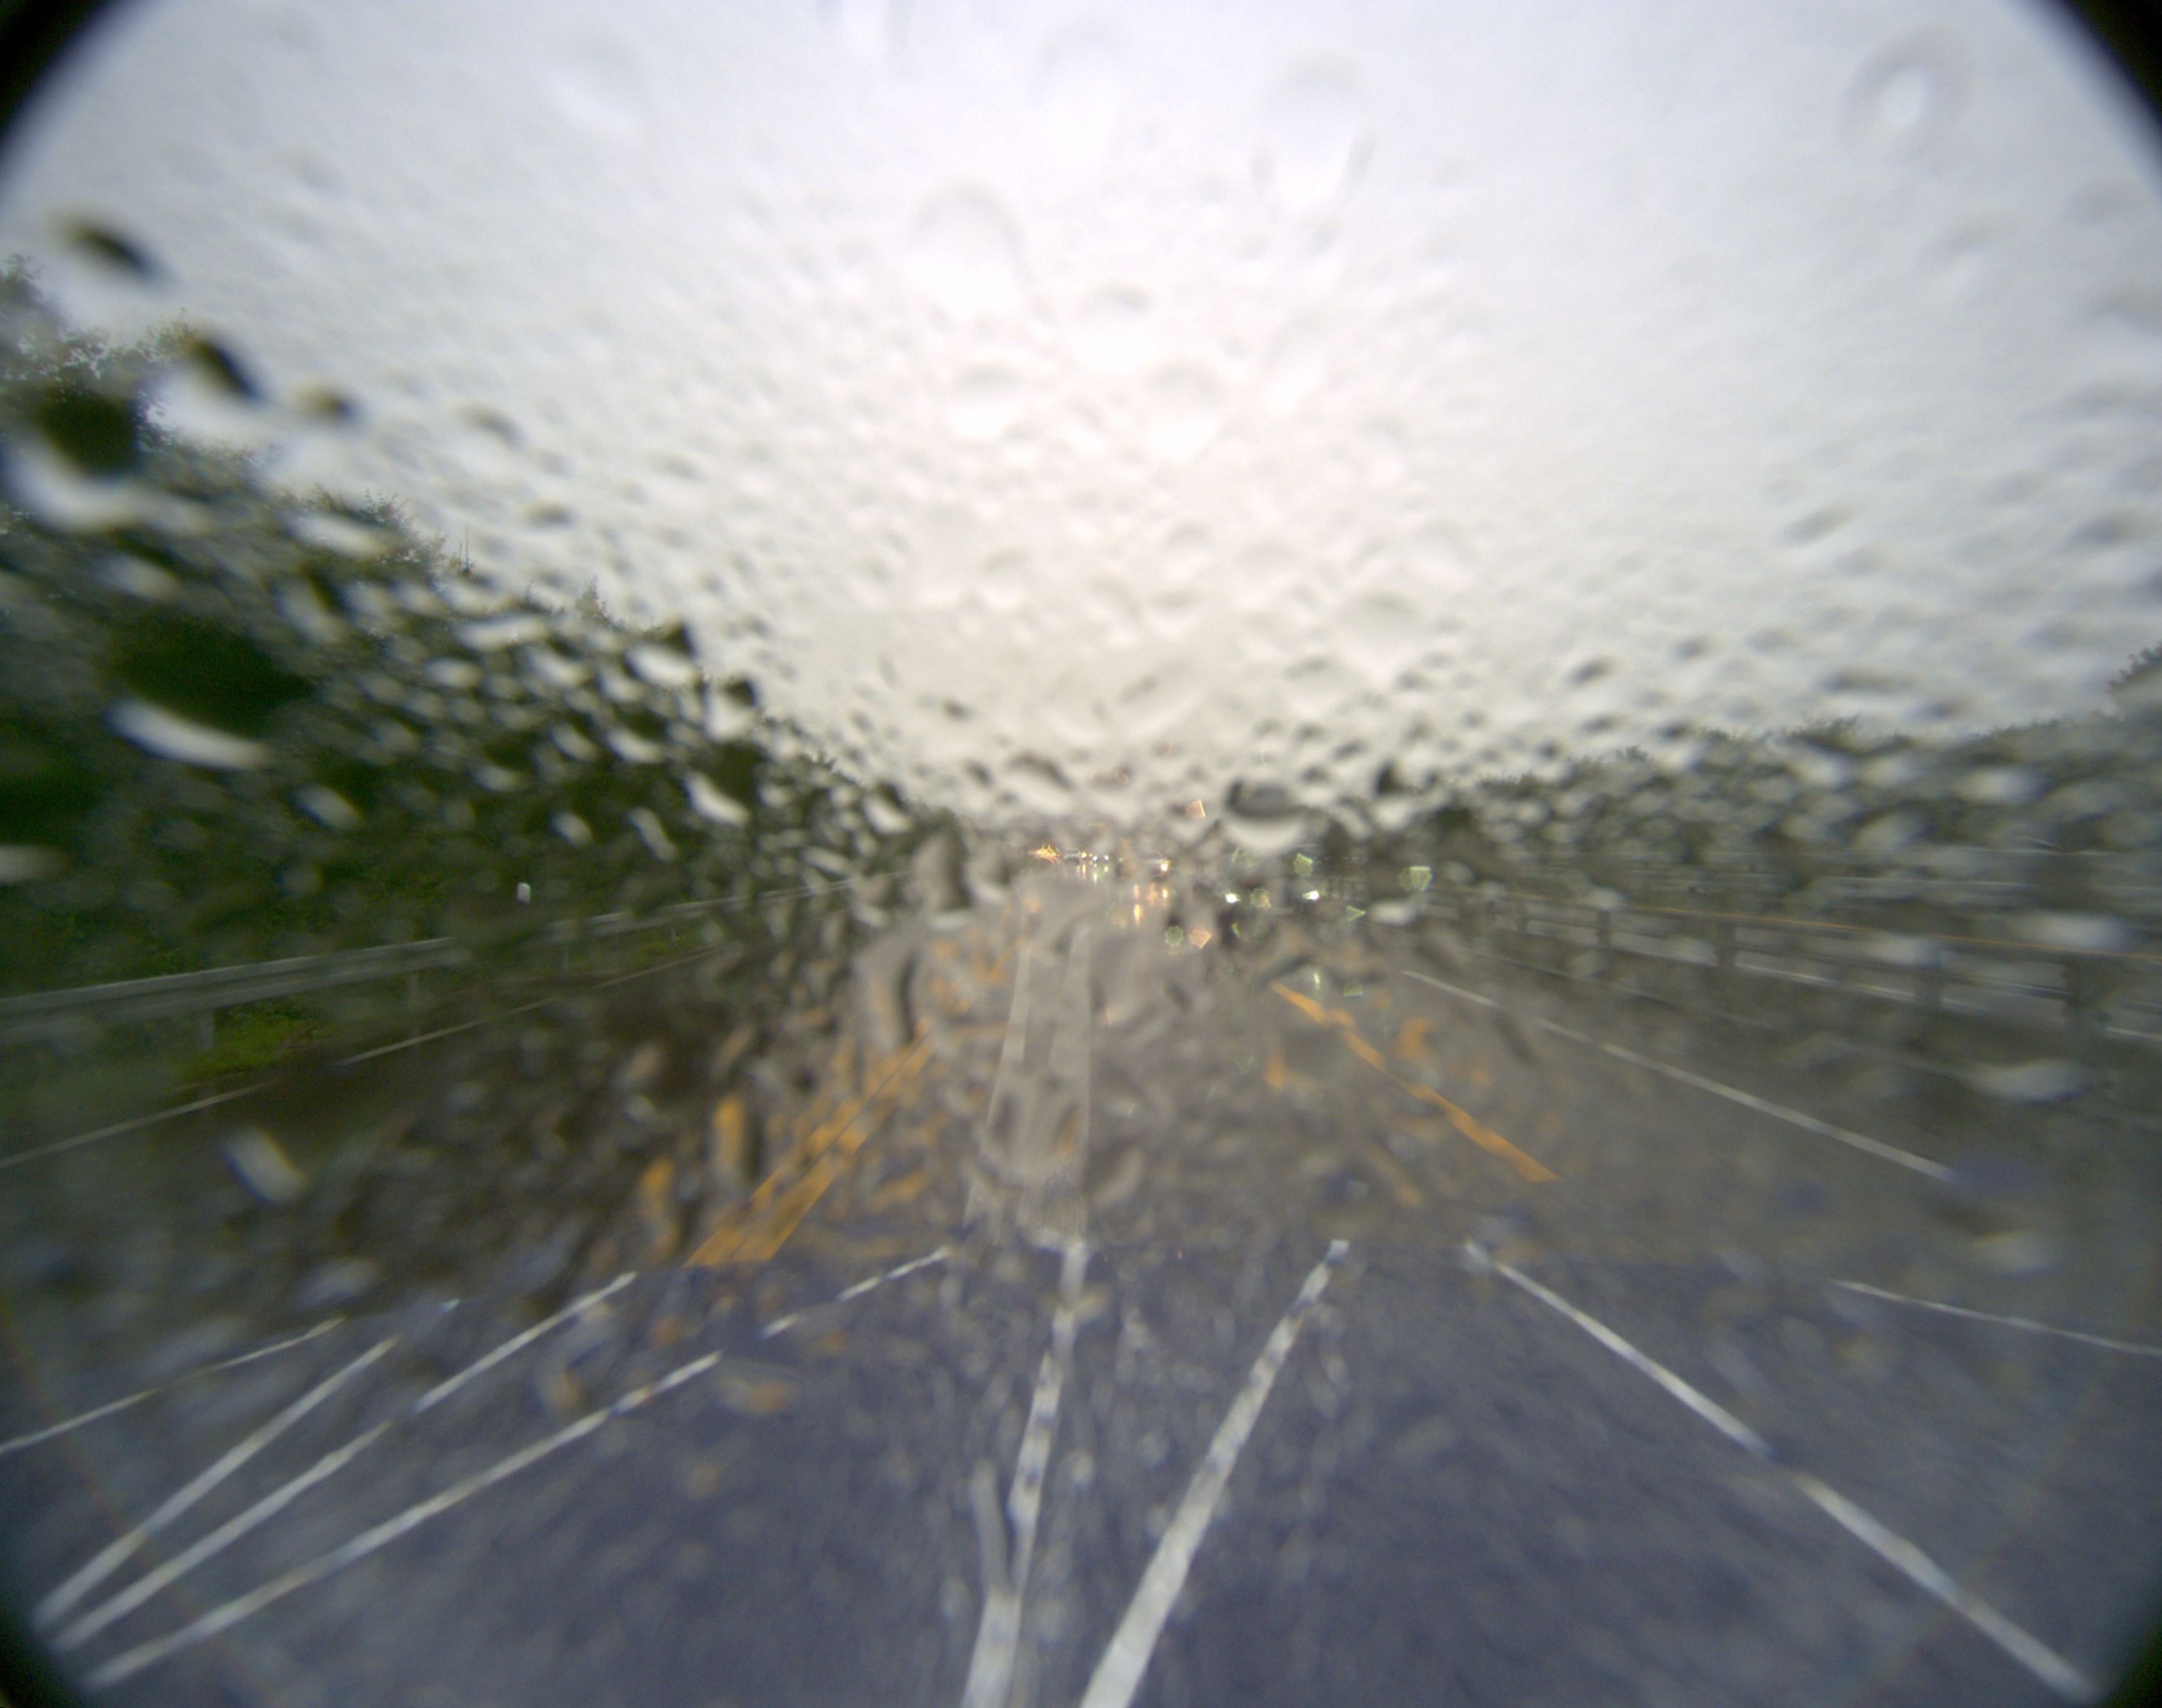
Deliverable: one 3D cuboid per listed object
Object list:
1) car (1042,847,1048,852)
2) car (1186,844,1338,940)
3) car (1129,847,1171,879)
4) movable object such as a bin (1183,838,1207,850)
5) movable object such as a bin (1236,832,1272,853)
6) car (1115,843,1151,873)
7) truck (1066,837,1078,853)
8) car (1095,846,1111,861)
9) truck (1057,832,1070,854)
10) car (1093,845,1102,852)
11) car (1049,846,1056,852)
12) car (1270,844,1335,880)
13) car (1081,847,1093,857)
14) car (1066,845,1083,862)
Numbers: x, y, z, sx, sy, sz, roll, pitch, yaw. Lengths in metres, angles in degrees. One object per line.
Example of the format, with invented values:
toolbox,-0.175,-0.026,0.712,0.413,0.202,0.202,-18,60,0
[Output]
car,-11.605,-1.426,246.691,1.752,1.579,3.999,-3,1,-1
car,3.266,0.592,14.695,1.998,1.489,4.631,-2,1,3
car,3.627,0.494,40.687,1.978,1.586,4.310,-2,-1,2
movable object such as a bin,22.832,-1.929,152.375,3.448,2.281,5.097,-3,1,-7
movable object such as a bin,25.240,-1.657,111.040,3.775,2.782,6.328,-2,1,0
car,3.791,0.255,56.032,2.211,2.002,5.563,-2,1,1
truck,-3.095,-3.055,257.020,3.283,4.809,15.981,-3,1,-2
car,2.718,-0.129,95.169,1.695,1.740,3.999,-3,1,-1
truck,-3.551,-2.233,154.831,2.484,4.061,8.702,-3,1,-1
car,3.974,-1.297,187.419,1.956,1.707,5.101,-3,1,-1
car,-8.103,-1.528,214.122,1.752,1.579,3.999,-3,1,-1
car,10.142,0.320,35.033,1.851,1.494,4.130,-2,1,2
car,0.927,-0.299,127.898,1.845,1.586,3.999,-3,1,-1
car,-0.813,-0.102,93.956,1.881,2.002,3.999,-3,1,-1
